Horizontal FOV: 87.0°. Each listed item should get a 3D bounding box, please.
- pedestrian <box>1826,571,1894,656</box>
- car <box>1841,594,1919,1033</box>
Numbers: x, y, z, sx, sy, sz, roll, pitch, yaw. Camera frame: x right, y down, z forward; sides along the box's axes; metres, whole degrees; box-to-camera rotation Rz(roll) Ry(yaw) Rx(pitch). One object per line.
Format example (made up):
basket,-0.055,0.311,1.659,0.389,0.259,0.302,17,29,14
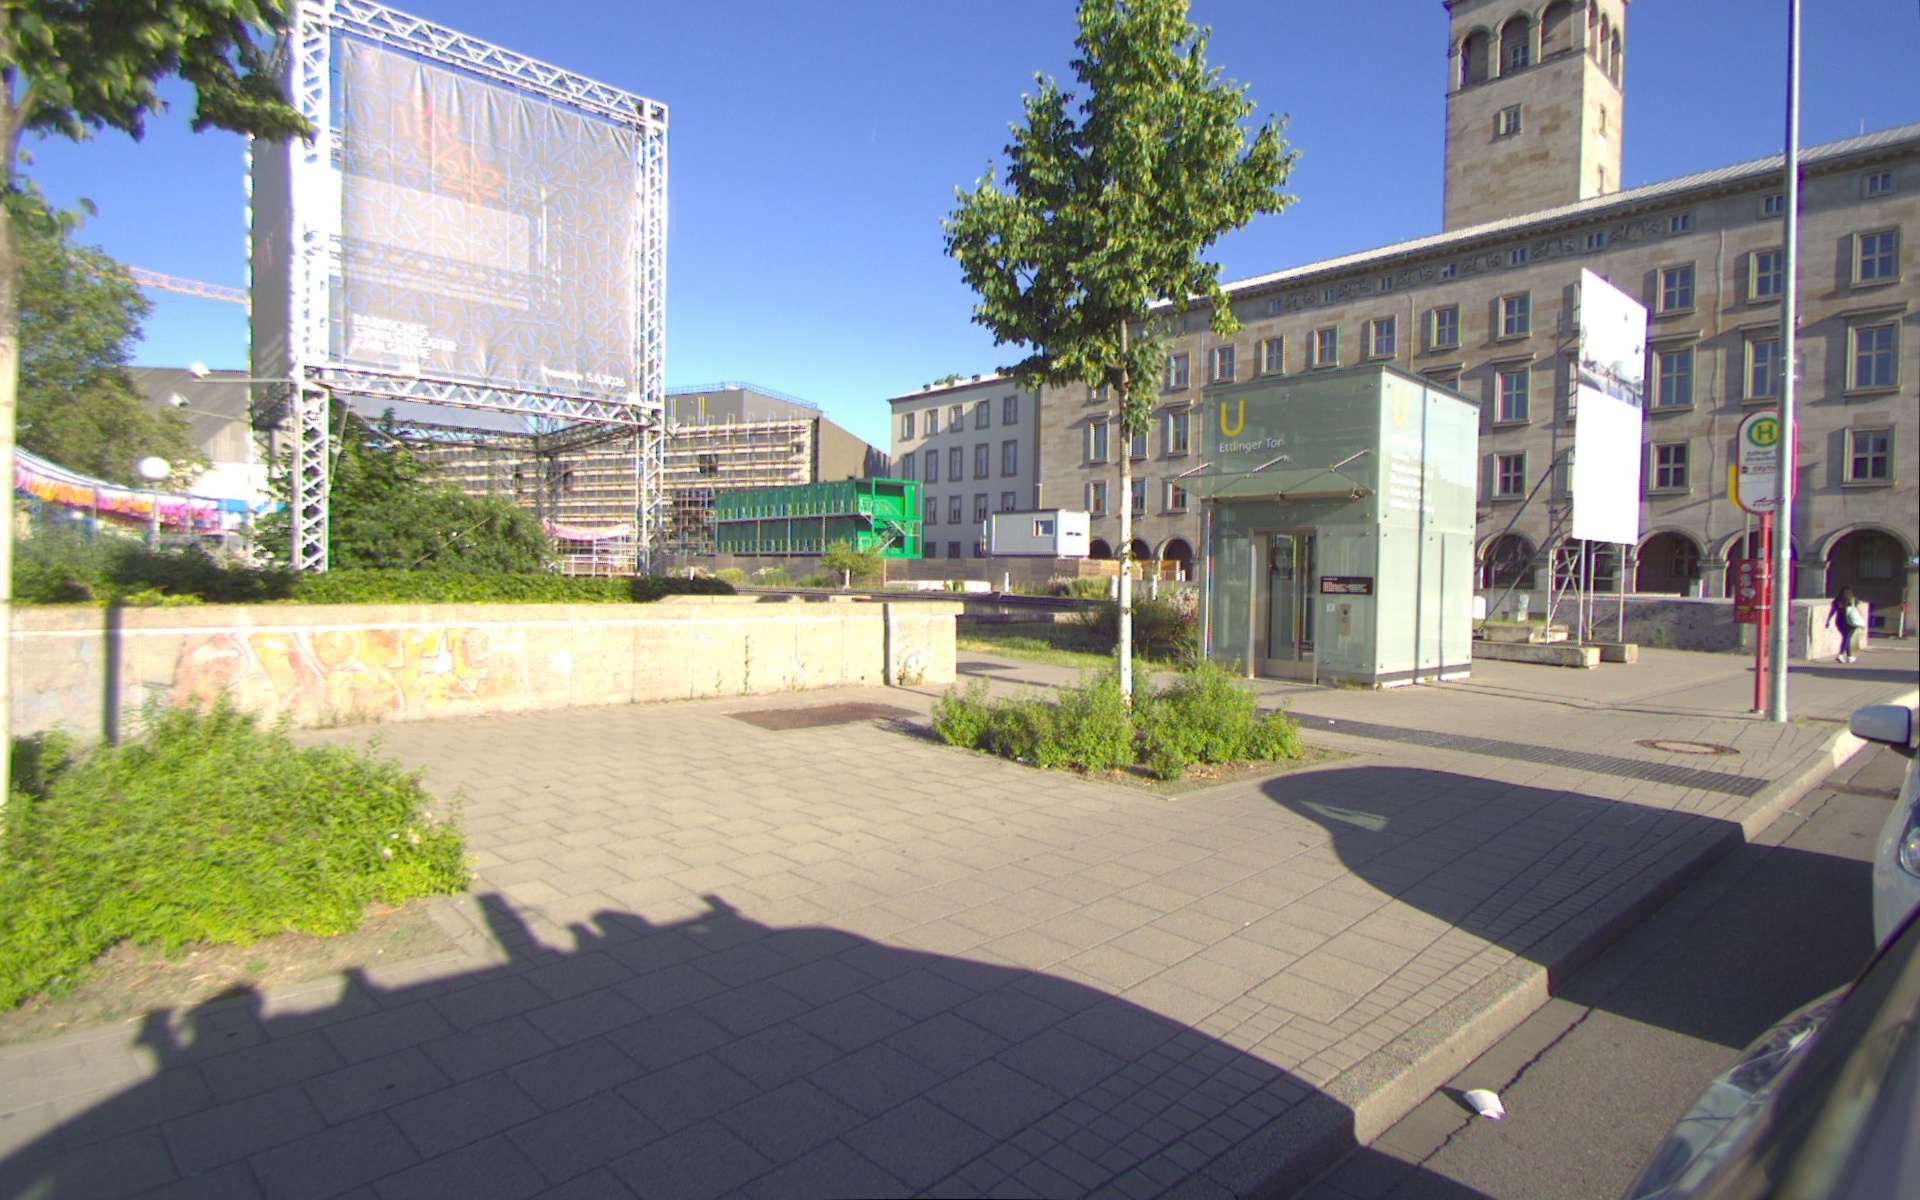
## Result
pedestrian,19.698,0.293,22.155,1.053,1.810,0.941,0,-1,-41
car,5.111,0.713,4.017,3.817,1.467,1.679,0,0,-37
